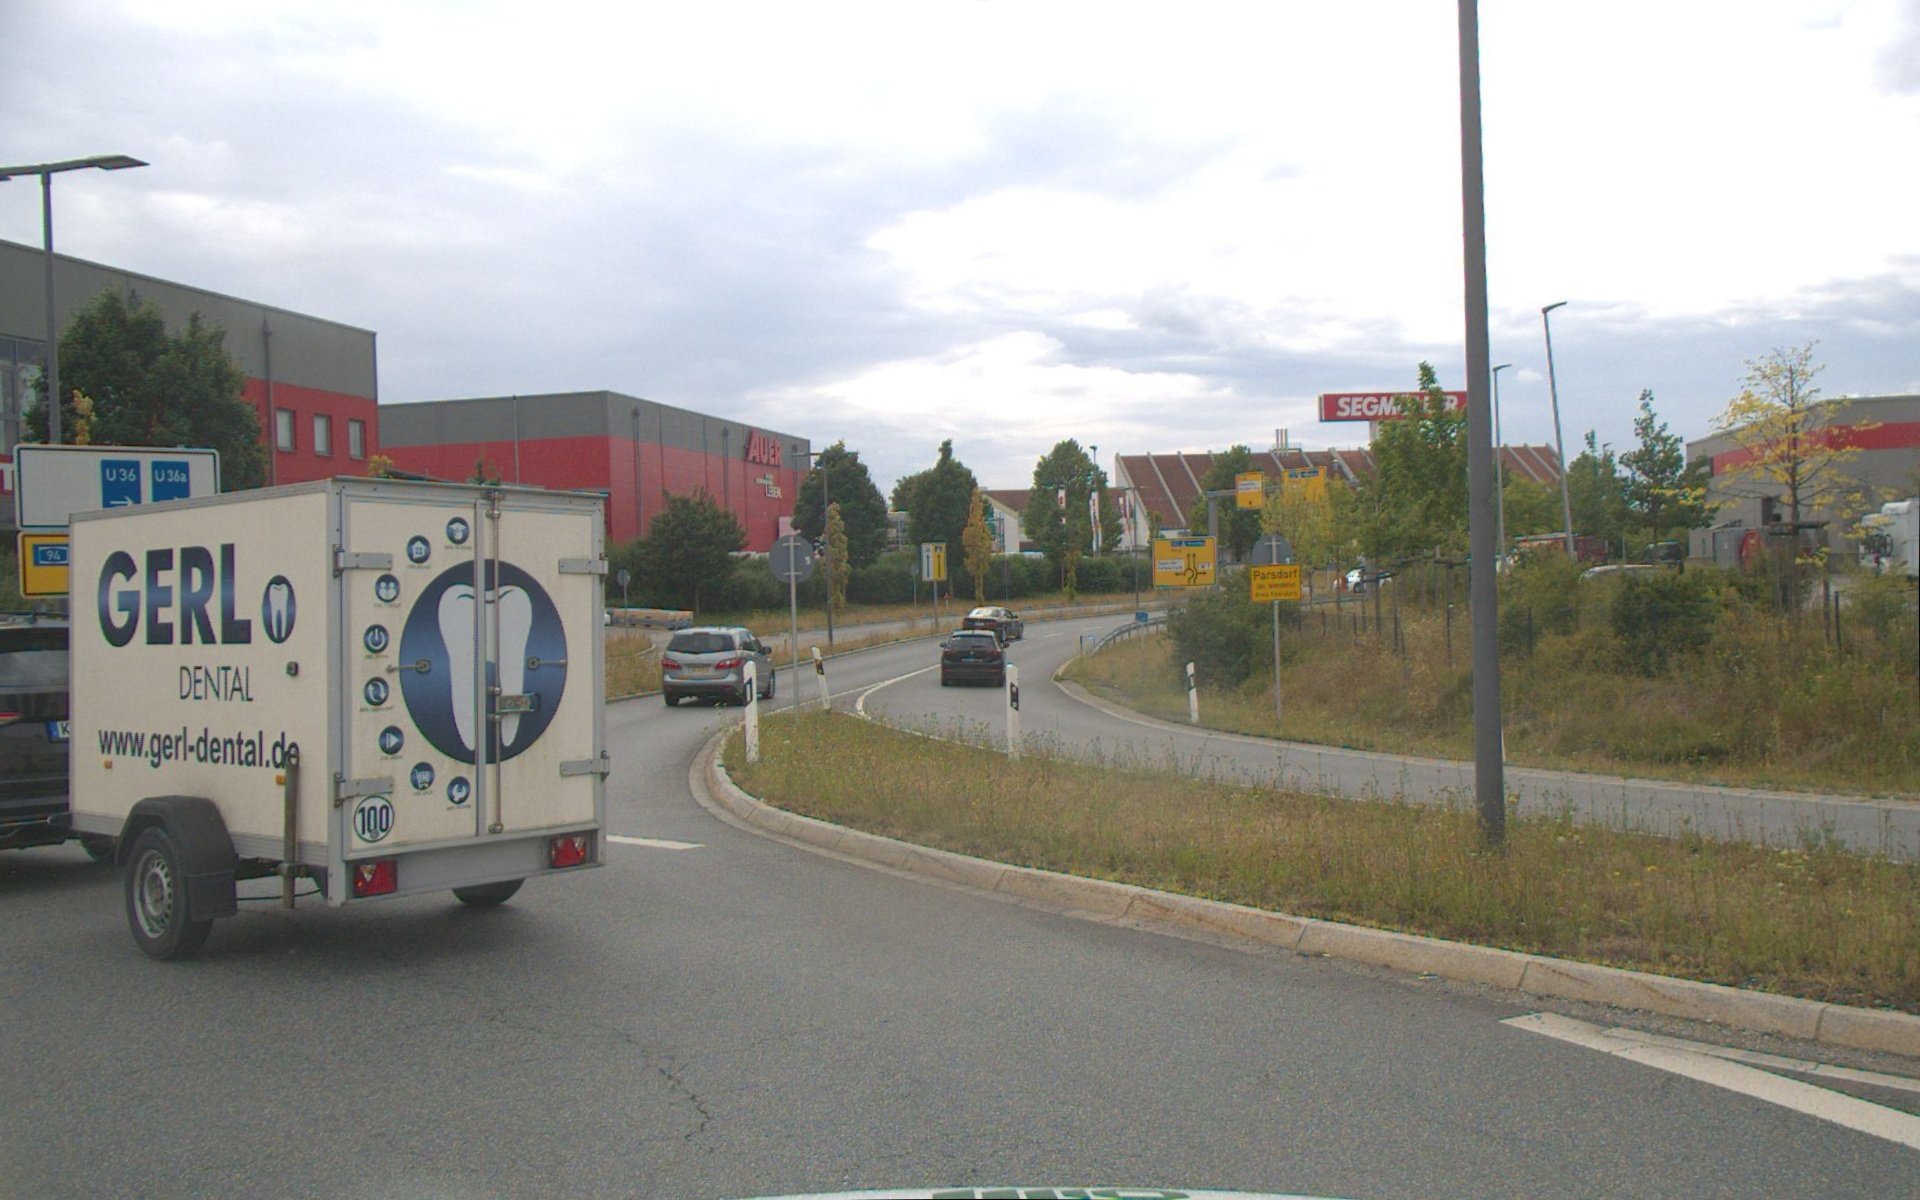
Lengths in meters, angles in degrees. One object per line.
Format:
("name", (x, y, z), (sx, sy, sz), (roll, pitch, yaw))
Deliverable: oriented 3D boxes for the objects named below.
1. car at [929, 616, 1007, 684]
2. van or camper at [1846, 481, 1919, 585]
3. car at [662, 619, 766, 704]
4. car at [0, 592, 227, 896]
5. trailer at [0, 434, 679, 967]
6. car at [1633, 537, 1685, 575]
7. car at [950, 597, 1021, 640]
("car", (0.257, 1.328, 44.787), (1.830, 1.633, 3.737), (-1, 1, 4))
("van or camper", (33.036, -2.271, 53.139), (7.549, 3.234, 2.495), (-2, 1, 12))
("car", (-5.190, 1.258, 35.322), (1.732, 1.645, 3.920), (-1, 0, -2))
("car", (-7.056, 0.860, 10.887), (4.516, 1.699, 1.813), (-2, 0, 31))
("trailer", (-3.526, 0.436, 8.590), (4.066, 2.128, 1.804), (-2, -1, 38))
("car", (37.322, -2.324, 88.377), (1.663, 1.842, 3.974), (-4, 0, 11))
("car", (1.059, 0.729, 66.764), (1.866, 1.646, 4.002), (-1, -1, 16))
